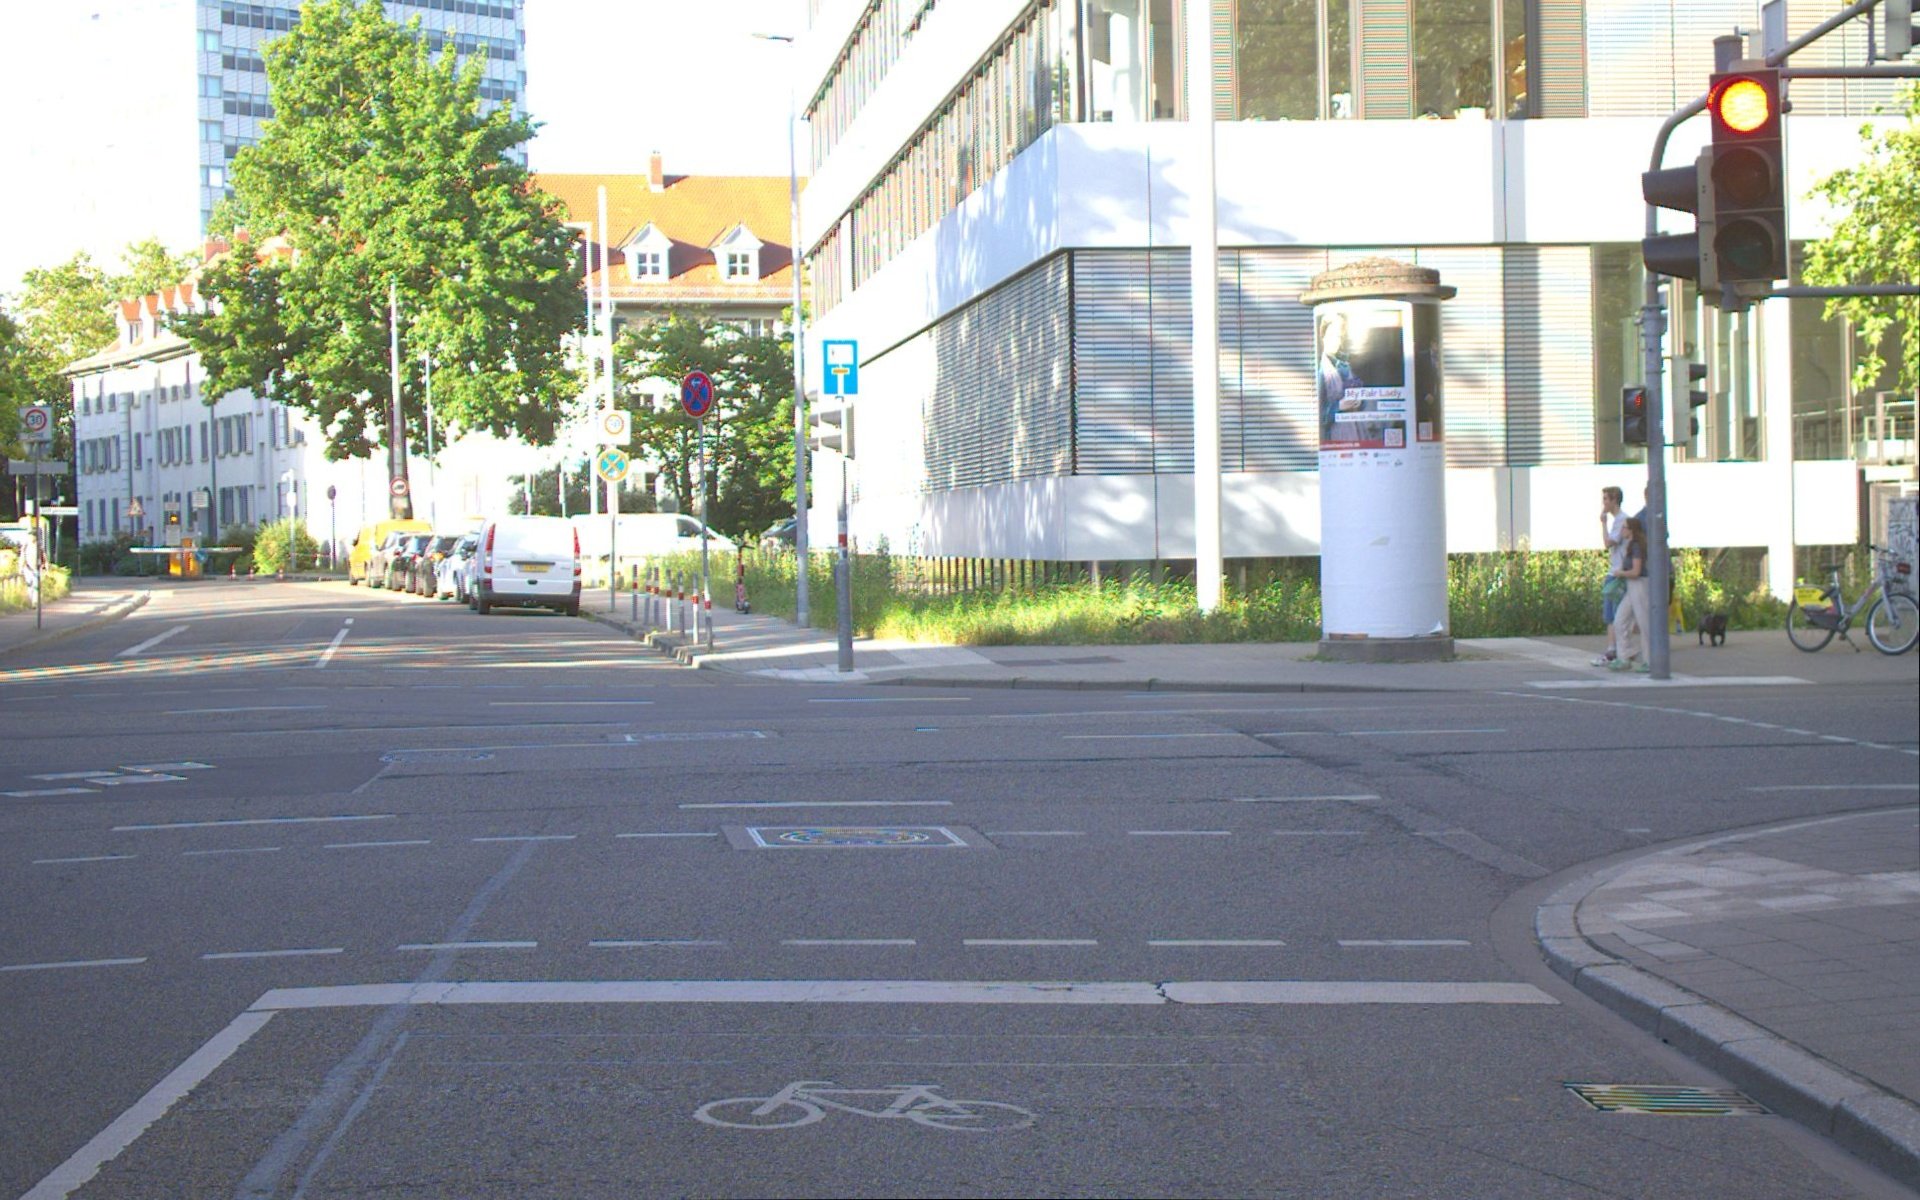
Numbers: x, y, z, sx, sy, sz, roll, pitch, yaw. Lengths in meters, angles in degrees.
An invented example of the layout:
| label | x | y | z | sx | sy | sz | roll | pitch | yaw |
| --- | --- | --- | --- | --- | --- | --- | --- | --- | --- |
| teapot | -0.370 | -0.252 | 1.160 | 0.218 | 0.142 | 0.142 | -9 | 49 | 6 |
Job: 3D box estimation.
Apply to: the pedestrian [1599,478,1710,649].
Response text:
| label | x | y | z | sx | sy | sz | roll | pitch | yaw |
| --- | --- | --- | --- | --- | --- | --- | --- | --- | --- |
| pedestrian | 7.498 | -0.396 | 37.090 | 0.916 | 1.809 | 0.760 | 1 | 0 | 36 |

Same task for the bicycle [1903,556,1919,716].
| label | x | y | z | sx | sy | sz | roll | pitch | yaw |
| --- | --- | --- | --- | --- | --- | --- | --- | --- | --- |
| bicycle | 7.876 | 0.241 | 24.981 | 1.963 | 1.148 | 0.592 | -1 | 1 | -18 |

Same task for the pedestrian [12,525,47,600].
| label | x | y | z | sx | sy | sz | roll | pitch | yaw |
| --- | --- | --- | --- | --- | --- | --- | --- | --- | --- |
| pedestrian | -19.722 | -0.798 | 72.869 | 0.699 | 1.581 | 0.637 | 1 | 0 | -16 |

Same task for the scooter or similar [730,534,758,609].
| label | x | y | z | sx | sy | sz | roll | pitch | yaw |
| --- | --- | --- | --- | --- | --- | --- | --- | --- | --- |
| scooter or similar | -3.661 | -0.495 | 58.303 | 0.437 | 1.252 | 1.420 | -1 | 1 | -4 |

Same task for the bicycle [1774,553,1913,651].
| label | x | y | z | sx | sy | sz | roll | pitch | yaw |
| --- | --- | --- | --- | --- | --- | --- | --- | --- | --- |
| bicycle | 9.283 | 0.017 | 36.160 | 0.378 | 1.005 | 1.432 | -2 | 2 | -42 |

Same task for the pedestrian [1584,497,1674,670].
| label | x | y | z | sx | sy | sz | roll | pitch | yaw |
| --- | --- | --- | --- | --- | --- | --- | --- | --- | --- |
| pedestrian | 6.694 | -0.167 | 34.410 | 0.765 | 1.713 | 0.648 | 1 | 0 | 2 |

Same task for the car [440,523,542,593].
| label | x | y | z | sx | sy | sz | roll | pitch | yaw |
| --- | --- | --- | --- | --- | --- | --- | --- | --- | --- |
| car | -10.507 | -0.940 | 76.819 | 1.993 | 1.493 | 4.653 | 1 | 1 | -11 |

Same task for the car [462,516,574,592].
| label | x | y | z | sx | sy | sz | roll | pitch | yaw |
| --- | --- | --- | --- | --- | --- | --- | --- | --- | --- |
| car | -9.173 | -0.939 | 71.047 | 1.993 | 1.493 | 4.653 | 1 | 1 | -11 |

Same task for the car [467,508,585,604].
| label | x | y | z | sx | sy | sz | roll | pitch | yaw |
| --- | --- | --- | --- | --- | --- | --- | --- | --- | --- |
| car | -8.222 | -0.821 | 64.834 | 1.993 | 1.719 | 4.653 | 1 | 1 | -10 |

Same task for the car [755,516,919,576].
| label | x | y | z | sx | sy | sz | roll | pitch | yaw |
| --- | --- | --- | --- | --- | --- | --- | --- | --- | --- |
| car | -3.758 | -1.638 | 104.786 | 4.635 | 1.719 | 2.001 | 1 | 0 | -16 |

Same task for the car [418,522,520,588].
| label | x | y | z | sx | sy | sz | roll | pitch | yaw |
| --- | --- | --- | --- | --- | --- | --- | --- | --- | --- |
| car | -11.629 | -1.066 | 81.266 | 1.993 | 1.493 | 4.288 | 1 | 1 | -13 |

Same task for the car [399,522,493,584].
| label | x | y | z | sx | sy | sz | roll | pitch | yaw |
| --- | --- | --- | --- | --- | --- | --- | --- | --- | --- |
| car | -12.882 | -1.170 | 85.990 | 1.993 | 1.493 | 4.653 | 1 | 1 | -13 |

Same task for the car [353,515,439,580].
| label | x | y | z | sx | sy | sz | roll | pitch | yaw |
| --- | --- | --- | --- | --- | --- | --- | --- | --- | --- |
| car | -15.741 | -1.458 | 95.846 | 1.993 | 1.719 | 4.653 | 1 | 1 | -14 |

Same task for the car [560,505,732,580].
| label | x | y | z | sx | sy | sz | roll | pitch | yaw |
| --- | --- | --- | --- | --- | --- | --- | --- | --- | --- |
| car | -9.405 | -1.710 | 102.942 | 4.791 | 2.151 | 2.001 | 1 | 0 | -17 |

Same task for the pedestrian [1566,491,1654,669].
| label | x | y | z | sx | sy | sz | roll | pitch | yaw |
| --- | --- | --- | --- | --- | --- | --- | --- | --- | --- |
| pedestrian | 6.638 | -0.202 | 35.113 | 0.765 | 1.789 | 0.648 | 1 | 0 | 2 |
